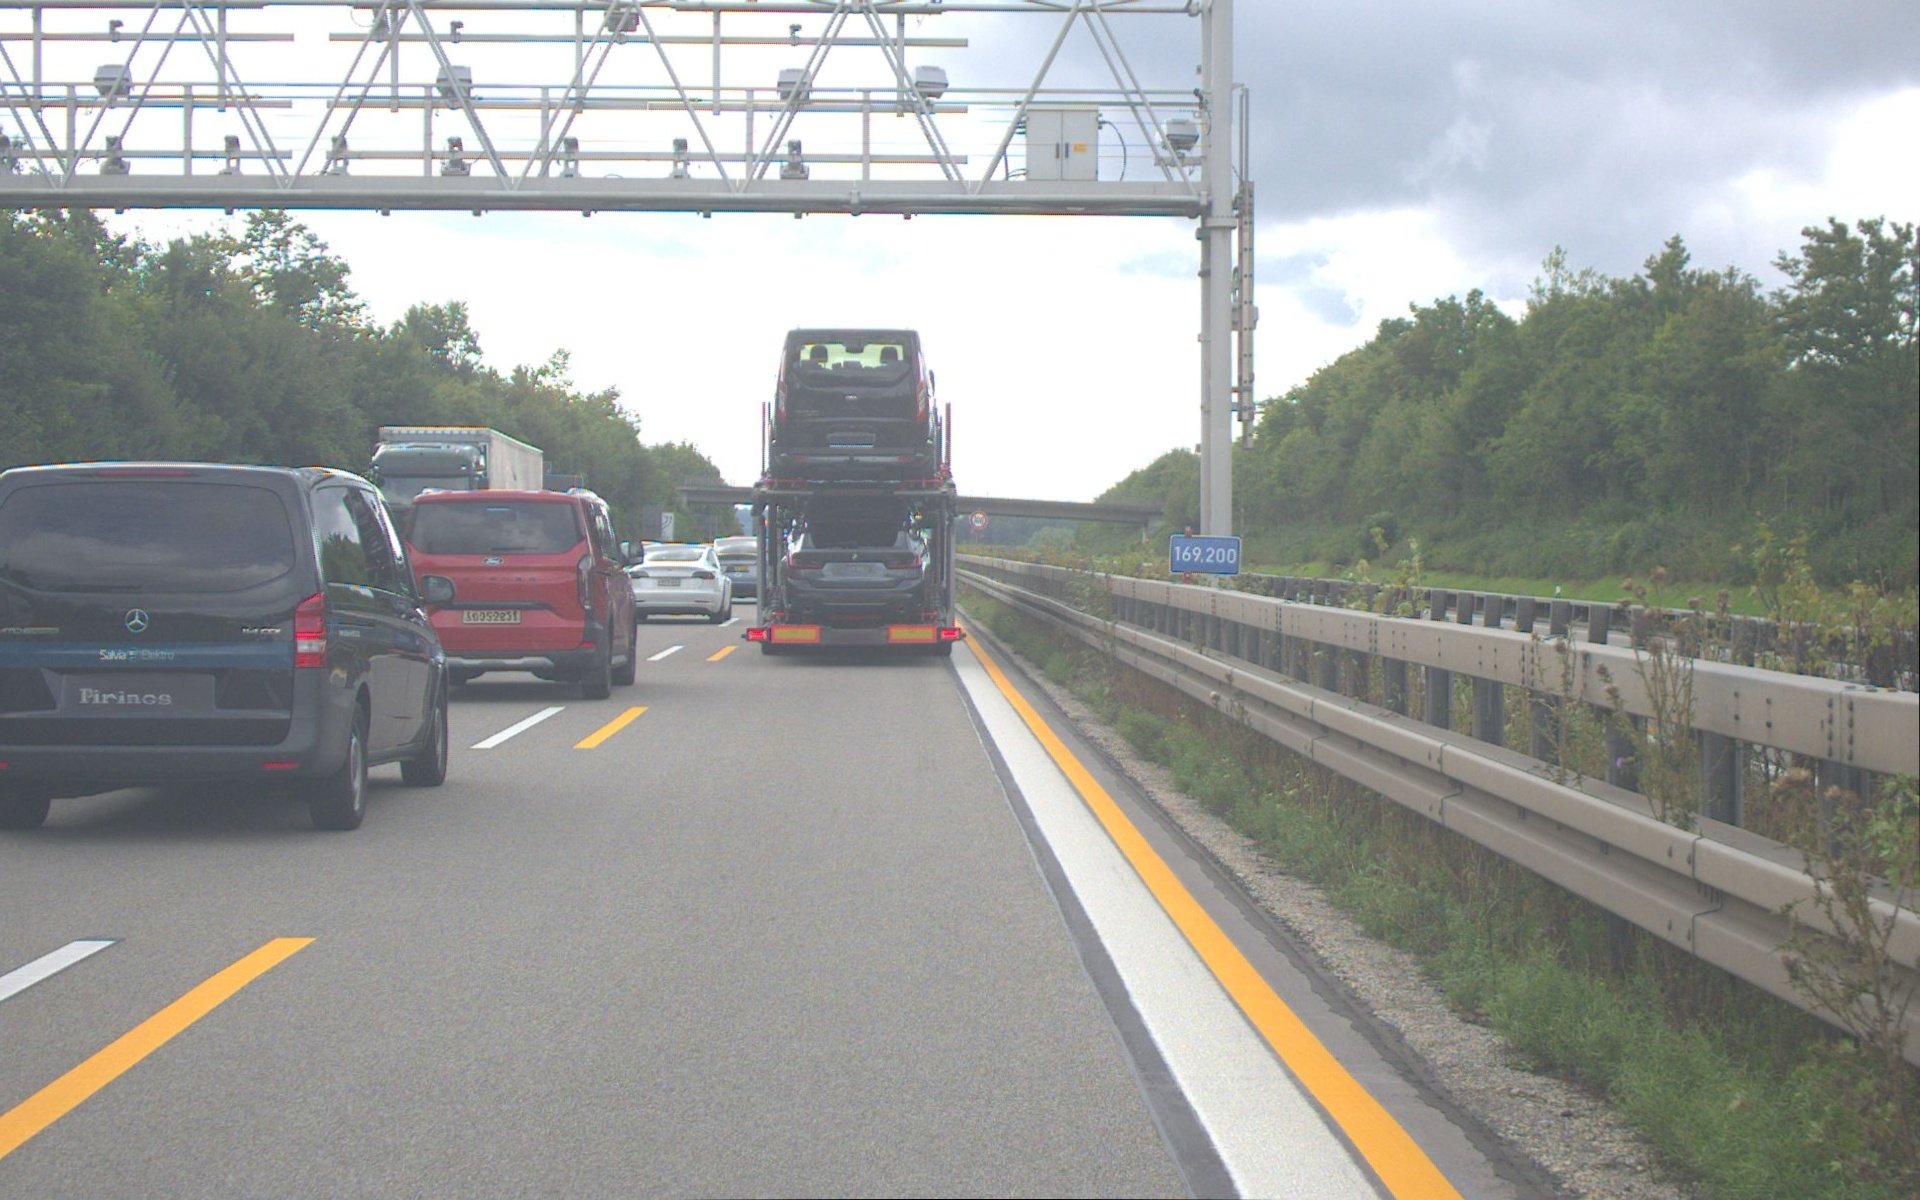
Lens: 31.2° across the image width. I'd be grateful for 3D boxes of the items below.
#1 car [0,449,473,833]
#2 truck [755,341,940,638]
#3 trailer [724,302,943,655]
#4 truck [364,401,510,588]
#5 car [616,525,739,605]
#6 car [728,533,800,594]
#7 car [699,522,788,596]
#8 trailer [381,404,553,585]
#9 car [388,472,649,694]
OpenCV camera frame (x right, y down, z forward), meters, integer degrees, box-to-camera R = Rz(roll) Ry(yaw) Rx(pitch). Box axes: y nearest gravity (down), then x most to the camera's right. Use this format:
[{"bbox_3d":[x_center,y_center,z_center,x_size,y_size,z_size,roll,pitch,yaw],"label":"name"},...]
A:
[{"bbox_3d":[-4.069,0.154,19.264,1.993,1.837,5.610,0,1,-1],"label":"car"},{"bbox_3d":[-1.589,-1.574,50.493,2.515,4.091,5.685,1,1,-1],"label":"truck"},{"bbox_3d":[-1.536,-1.505,45.754,2.515,4.091,11.114,1,1,-1],"label":"trailer"},{"bbox_3d":[-12.087,-2.433,79.878,2.598,4.140,5.621,1,1,-1],"label":"truck"},{"bbox_3d":[-5.177,-0.659,63.582,2.031,1.426,4.578,0,1,-2],"label":"car"},{"bbox_3d":[-5.824,-1.105,102.400,2.031,1.751,4.578,0,1,-2],"label":"car"},{"bbox_3d":[-5.246,-1.006,83.746,2.031,1.751,4.578,0,1,-2],"label":"car"},{"bbox_3d":[-12.236,-2.608,86.598,2.598,4.140,13.993,1,1,-1],"label":"trailer"},{"bbox_3d":[-4.195,-0.189,33.374,2.031,2.007,4.578,0,1,-1],"label":"car"}]
